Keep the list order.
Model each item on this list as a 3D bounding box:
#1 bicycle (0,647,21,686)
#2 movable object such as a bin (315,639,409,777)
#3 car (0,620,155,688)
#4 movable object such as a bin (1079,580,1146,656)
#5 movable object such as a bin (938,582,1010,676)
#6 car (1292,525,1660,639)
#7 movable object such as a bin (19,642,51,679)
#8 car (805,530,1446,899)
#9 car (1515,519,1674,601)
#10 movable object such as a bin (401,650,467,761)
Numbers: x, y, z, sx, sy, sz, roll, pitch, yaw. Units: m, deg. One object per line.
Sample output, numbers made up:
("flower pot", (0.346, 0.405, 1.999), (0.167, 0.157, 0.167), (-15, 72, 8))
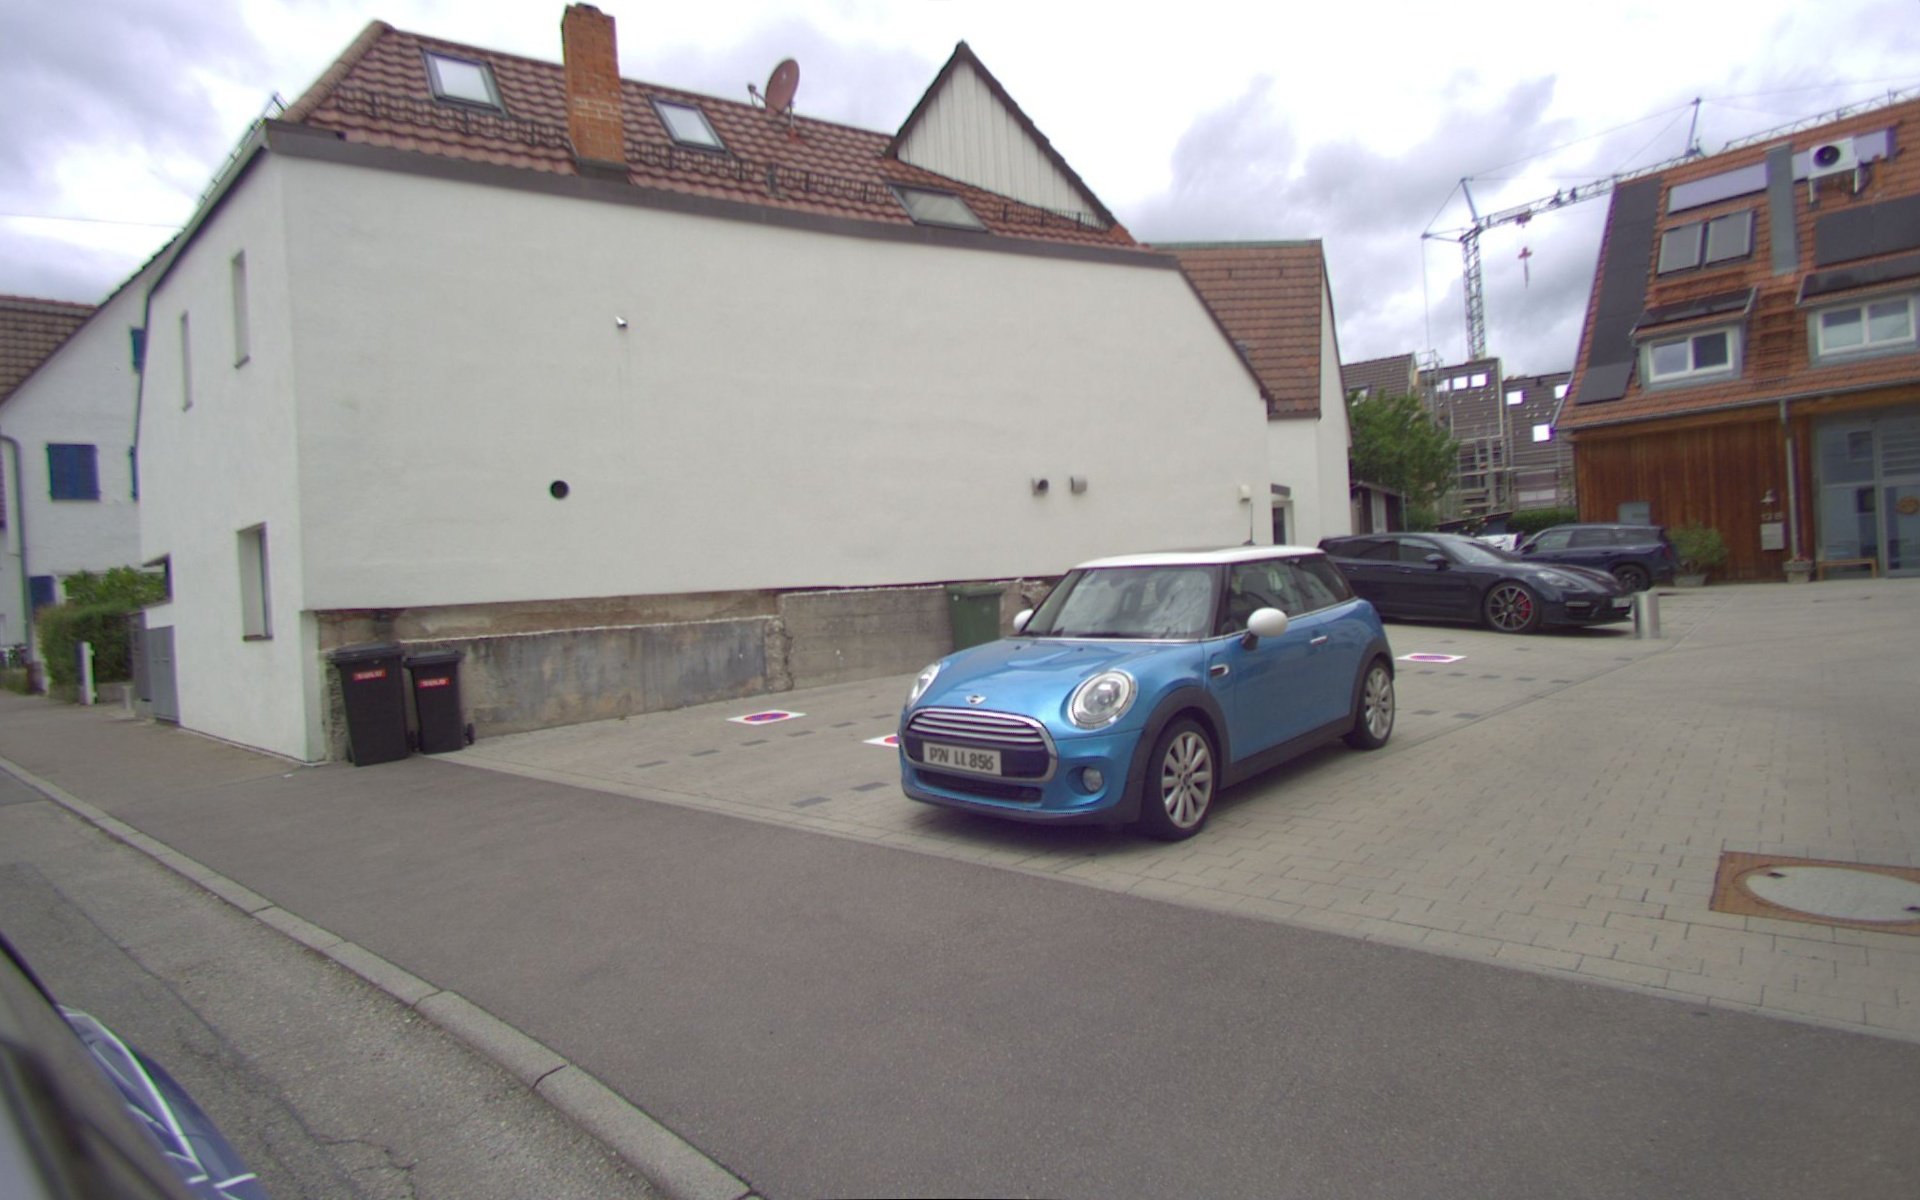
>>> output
("bicycle", (-26.803, 1.869, 28.308), (0.437, 1.046, 2.097), (-8, 2, -36))
("movable object such as a bin", (-5.313, 0.934, 9.034), (0.606, 1.083, 0.755), (-5, 2, -28))
("car", (-29.023, 1.706, 32.493), (1.973, 1.510, 4.502), (0, 7, 34))
("movable object such as a bin", (2.034, 0.230, 13.520), (0.546, 0.958, 0.694), (-3, 1, -28))
("movable object such as a bin", (0.169, 0.343, 12.439), (0.546, 1.083, 0.728), (-4, 2, -27))
("car", (7.360, -0.327, 14.961), (1.767, 1.416, 4.590), (-2, 3, -32))
("movable object such as a bin", (-27.206, 1.776, 29.771), (0.549, 1.007, 0.623), (-10, 4, -40))
("car", (1.208, 0.384, 6.219), (2.121, 1.421, 3.690), (0, 4, 44))
("car", (14.295, -0.900, 22.808), (2.892, 1.639, 1.720), (-2, 2, 36))
("movable object such as a bin", (-4.852, 0.958, 9.332), (0.443, 0.911, 0.573), (-6, 3, -28))
